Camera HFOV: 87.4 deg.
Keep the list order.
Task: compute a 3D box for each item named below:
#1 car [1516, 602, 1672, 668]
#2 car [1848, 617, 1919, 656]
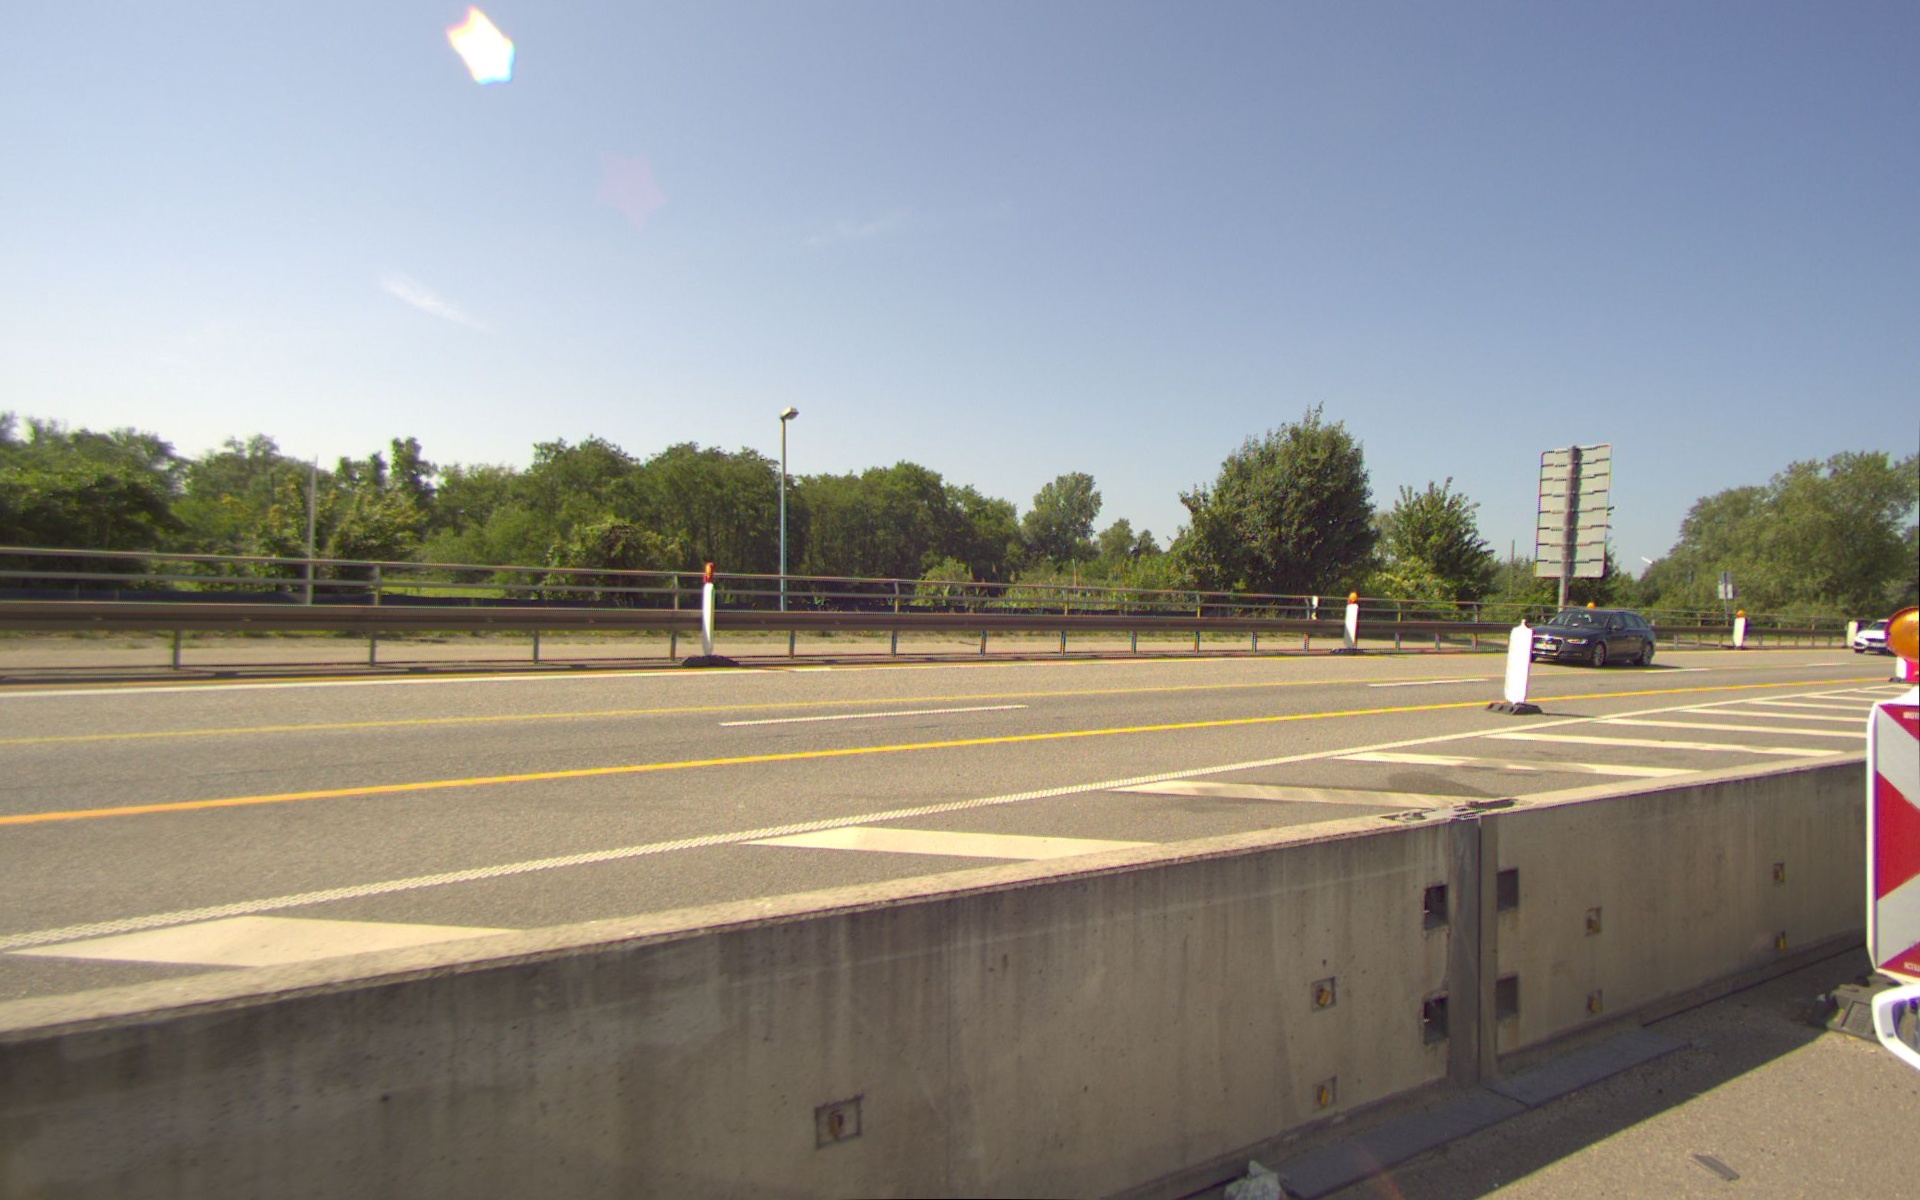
[{"bbox_3d":[16.332,0.877,25.803,4.599,1.496,1.725,1,1,-35],"label":"car"},{"bbox_3d":[38.236,1.479,41.113,4.473,1.416,1.708,2,3,-34],"label":"car"}]
